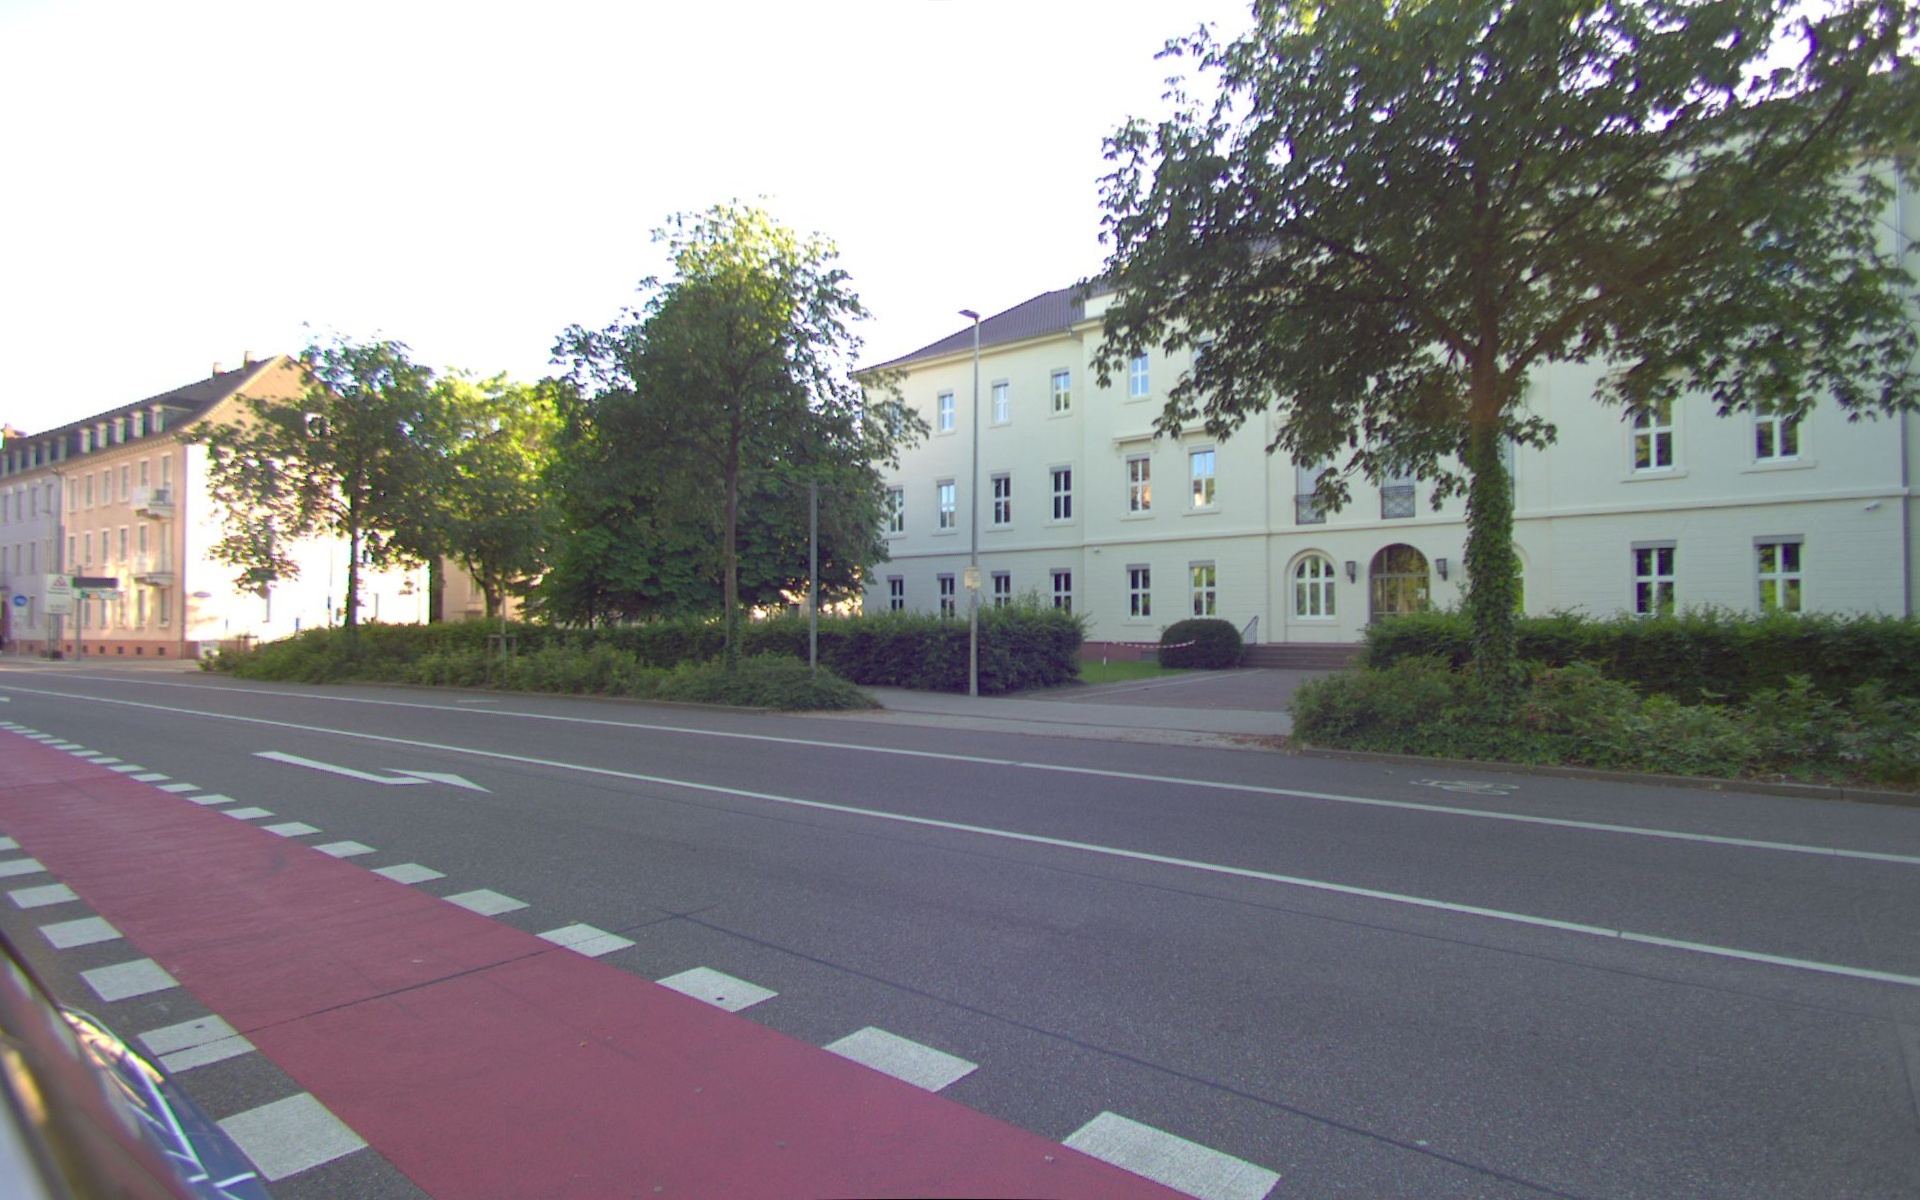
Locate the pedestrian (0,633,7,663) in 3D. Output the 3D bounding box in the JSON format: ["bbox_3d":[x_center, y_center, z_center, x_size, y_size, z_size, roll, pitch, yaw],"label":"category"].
[{"bbox_3d":[-62.027,3.088,65.043,1.060,1.919,0.938,-1,-1,33],"label":"pedestrian"}]

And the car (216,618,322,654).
[{"bbox_3d":[-34.668,1.765,50.833,1.993,1.674,3.958,-1,-1,31],"label":"car"}]
